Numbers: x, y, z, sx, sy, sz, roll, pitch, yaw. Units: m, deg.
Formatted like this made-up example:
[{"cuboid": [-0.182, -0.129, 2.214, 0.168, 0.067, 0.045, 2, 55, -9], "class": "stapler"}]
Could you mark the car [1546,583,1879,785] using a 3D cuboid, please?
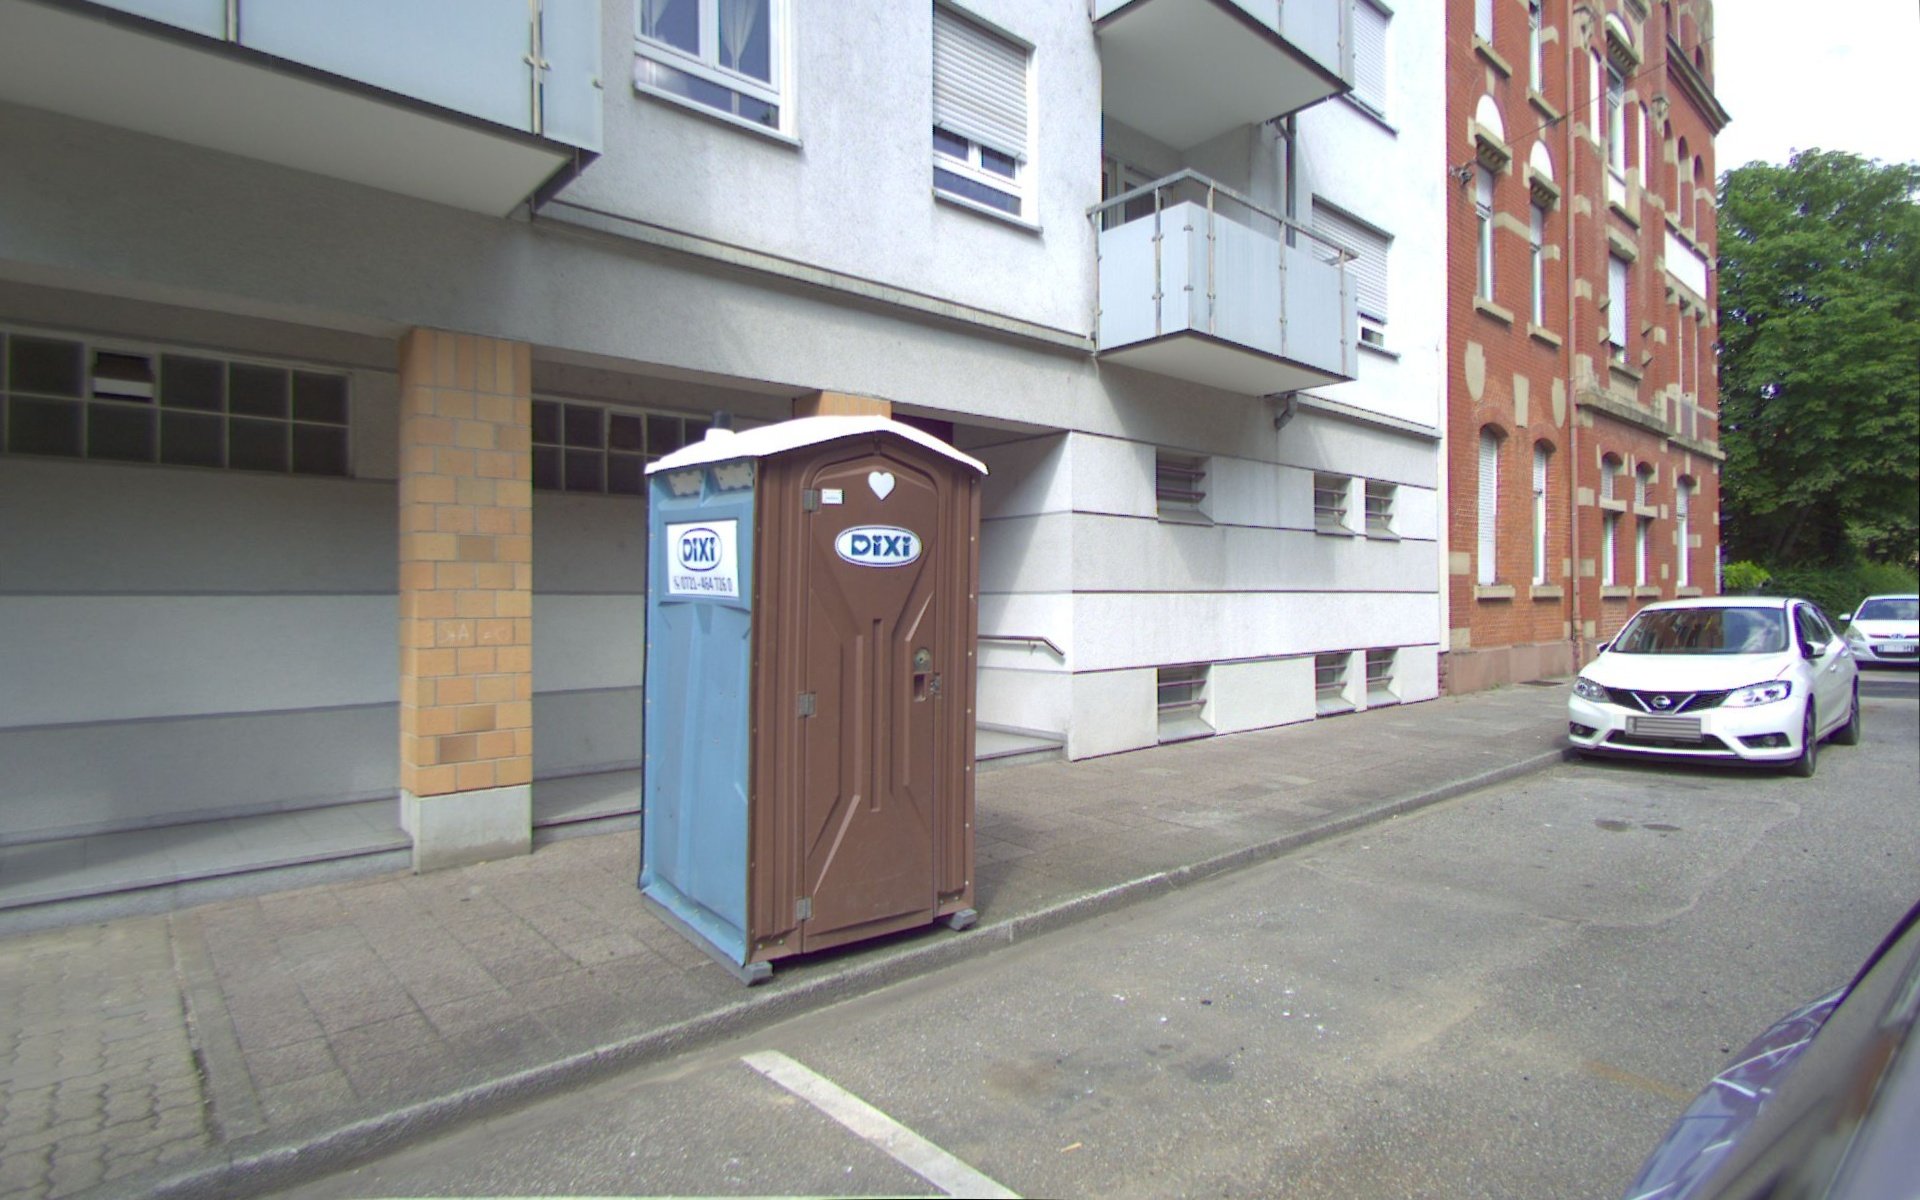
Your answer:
[{"cuboid": [7.391, 0.642, 9.799, 3.971, 1.549, 1.799, -1, -1, -42], "class": "car"}]

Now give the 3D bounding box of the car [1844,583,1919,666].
[{"cuboid": [19.415, 0.439, 20.469, 3.971, 1.549, 1.799, -1, -1, -42], "class": "car"}]
